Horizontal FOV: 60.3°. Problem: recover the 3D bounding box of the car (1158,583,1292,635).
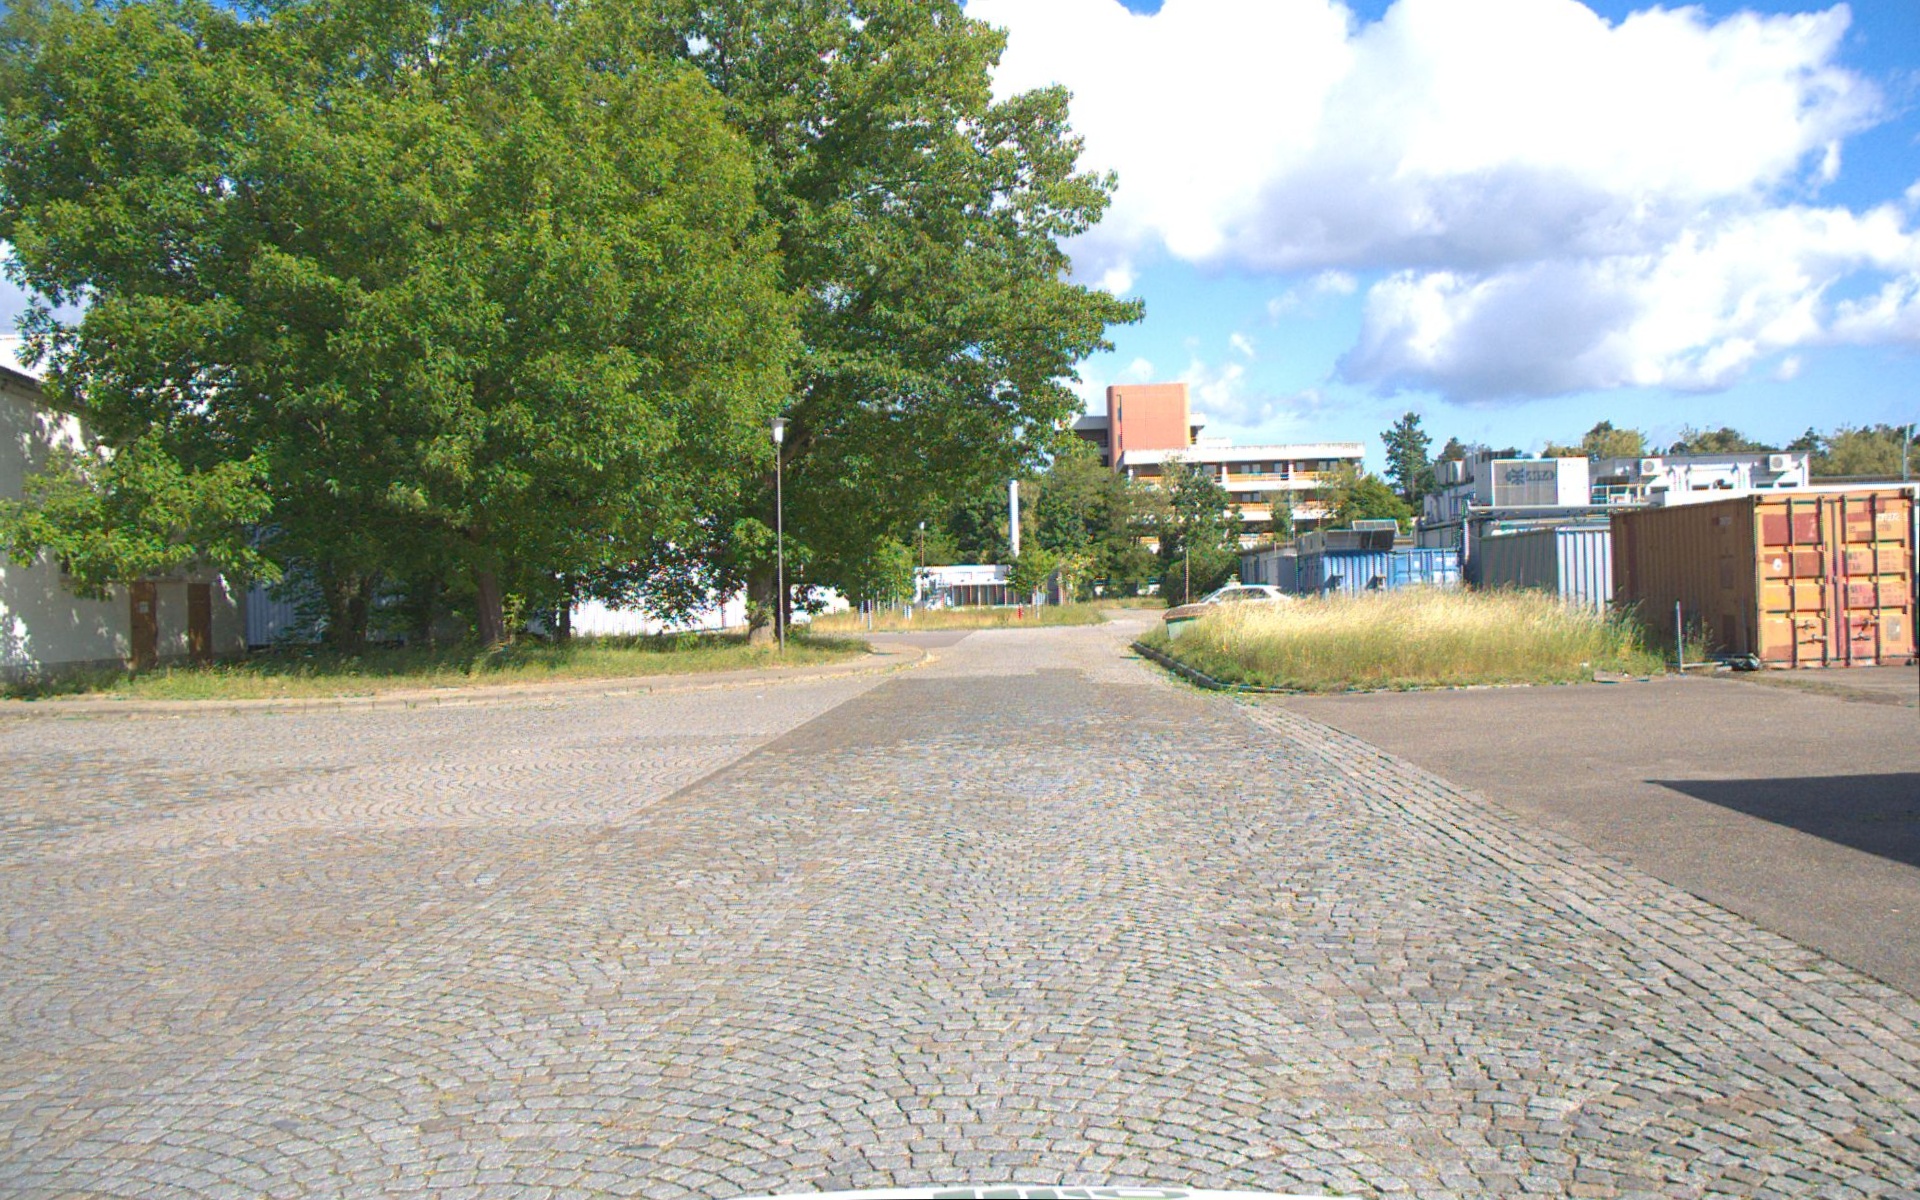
[{"bbox_3d":[9.284,0.304,58.193,4.411,1.676,2.000,-2,0,1],"label":"car"}]
